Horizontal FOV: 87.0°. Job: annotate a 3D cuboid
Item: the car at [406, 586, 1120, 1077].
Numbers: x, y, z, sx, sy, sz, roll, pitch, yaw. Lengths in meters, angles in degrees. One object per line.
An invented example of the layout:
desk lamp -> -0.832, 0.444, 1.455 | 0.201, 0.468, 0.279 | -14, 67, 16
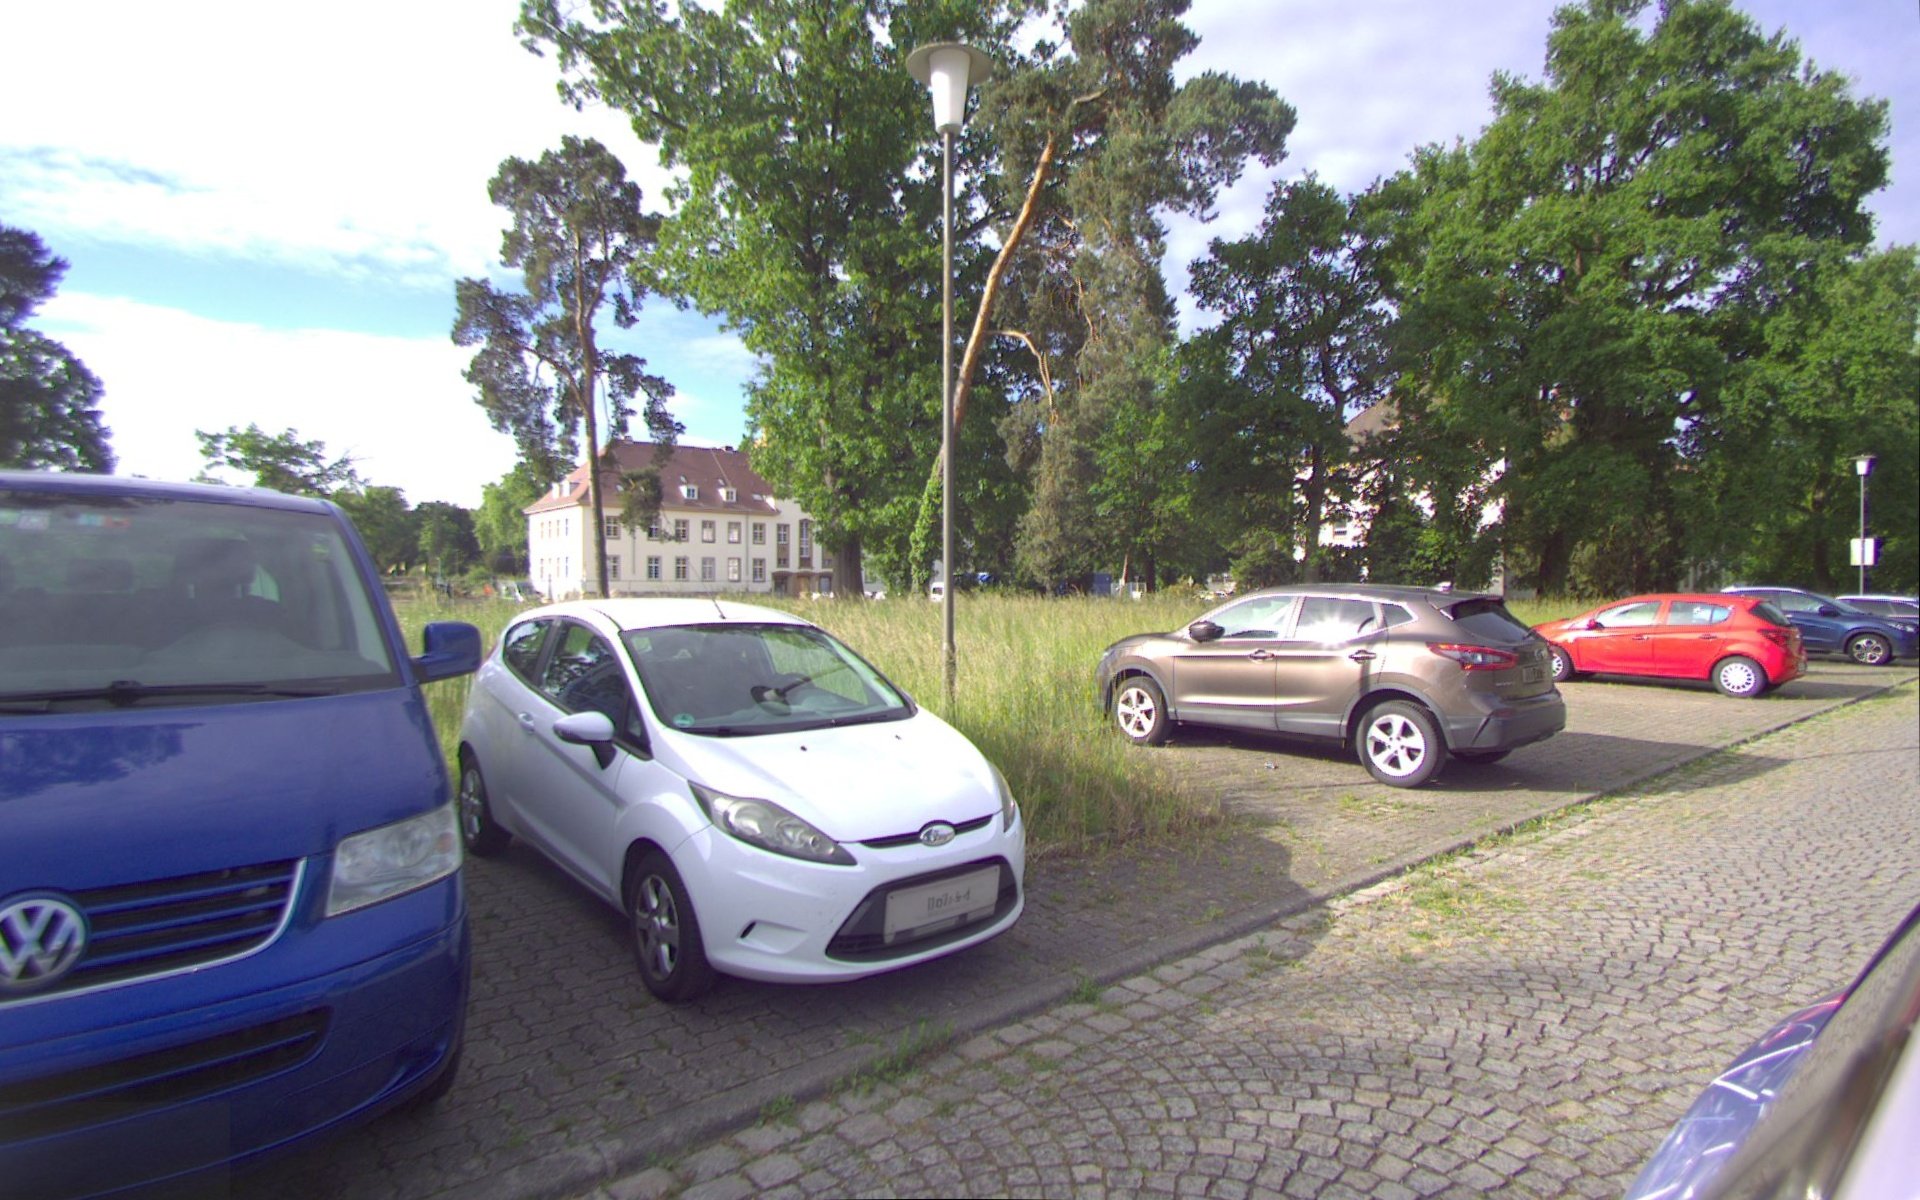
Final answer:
car -> -1.363, 0.701, 5.349 | 1.777, 1.488, 4.195 | -2, 2, -43

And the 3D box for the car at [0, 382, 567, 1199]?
car -> -3.234, 0.482, 3.698 | 1.957, 1.952, 4.744 | -1, 3, -40

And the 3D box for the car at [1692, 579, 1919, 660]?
car -> 18.879, 0.358, 22.337 | 1.716, 1.588, 4.134 | -1, 2, -40

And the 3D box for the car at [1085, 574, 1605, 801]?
car -> 3.339, 0.575, 9.462 | 1.845, 1.608, 4.199 | -1, 2, -40

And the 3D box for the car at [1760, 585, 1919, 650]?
car -> 22.598, 0.396, 25.074 | 1.750, 1.468, 4.037 | -1, 2, -37

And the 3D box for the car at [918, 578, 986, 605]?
car -> -0.693, -0.756, 88.780 | 5.851, 2.328, 2.168 | -1, 1, -37

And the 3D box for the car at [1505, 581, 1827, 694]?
car -> 11.010, 0.479, 16.003 | 1.657, 1.491, 3.885 | -1, 3, -40
